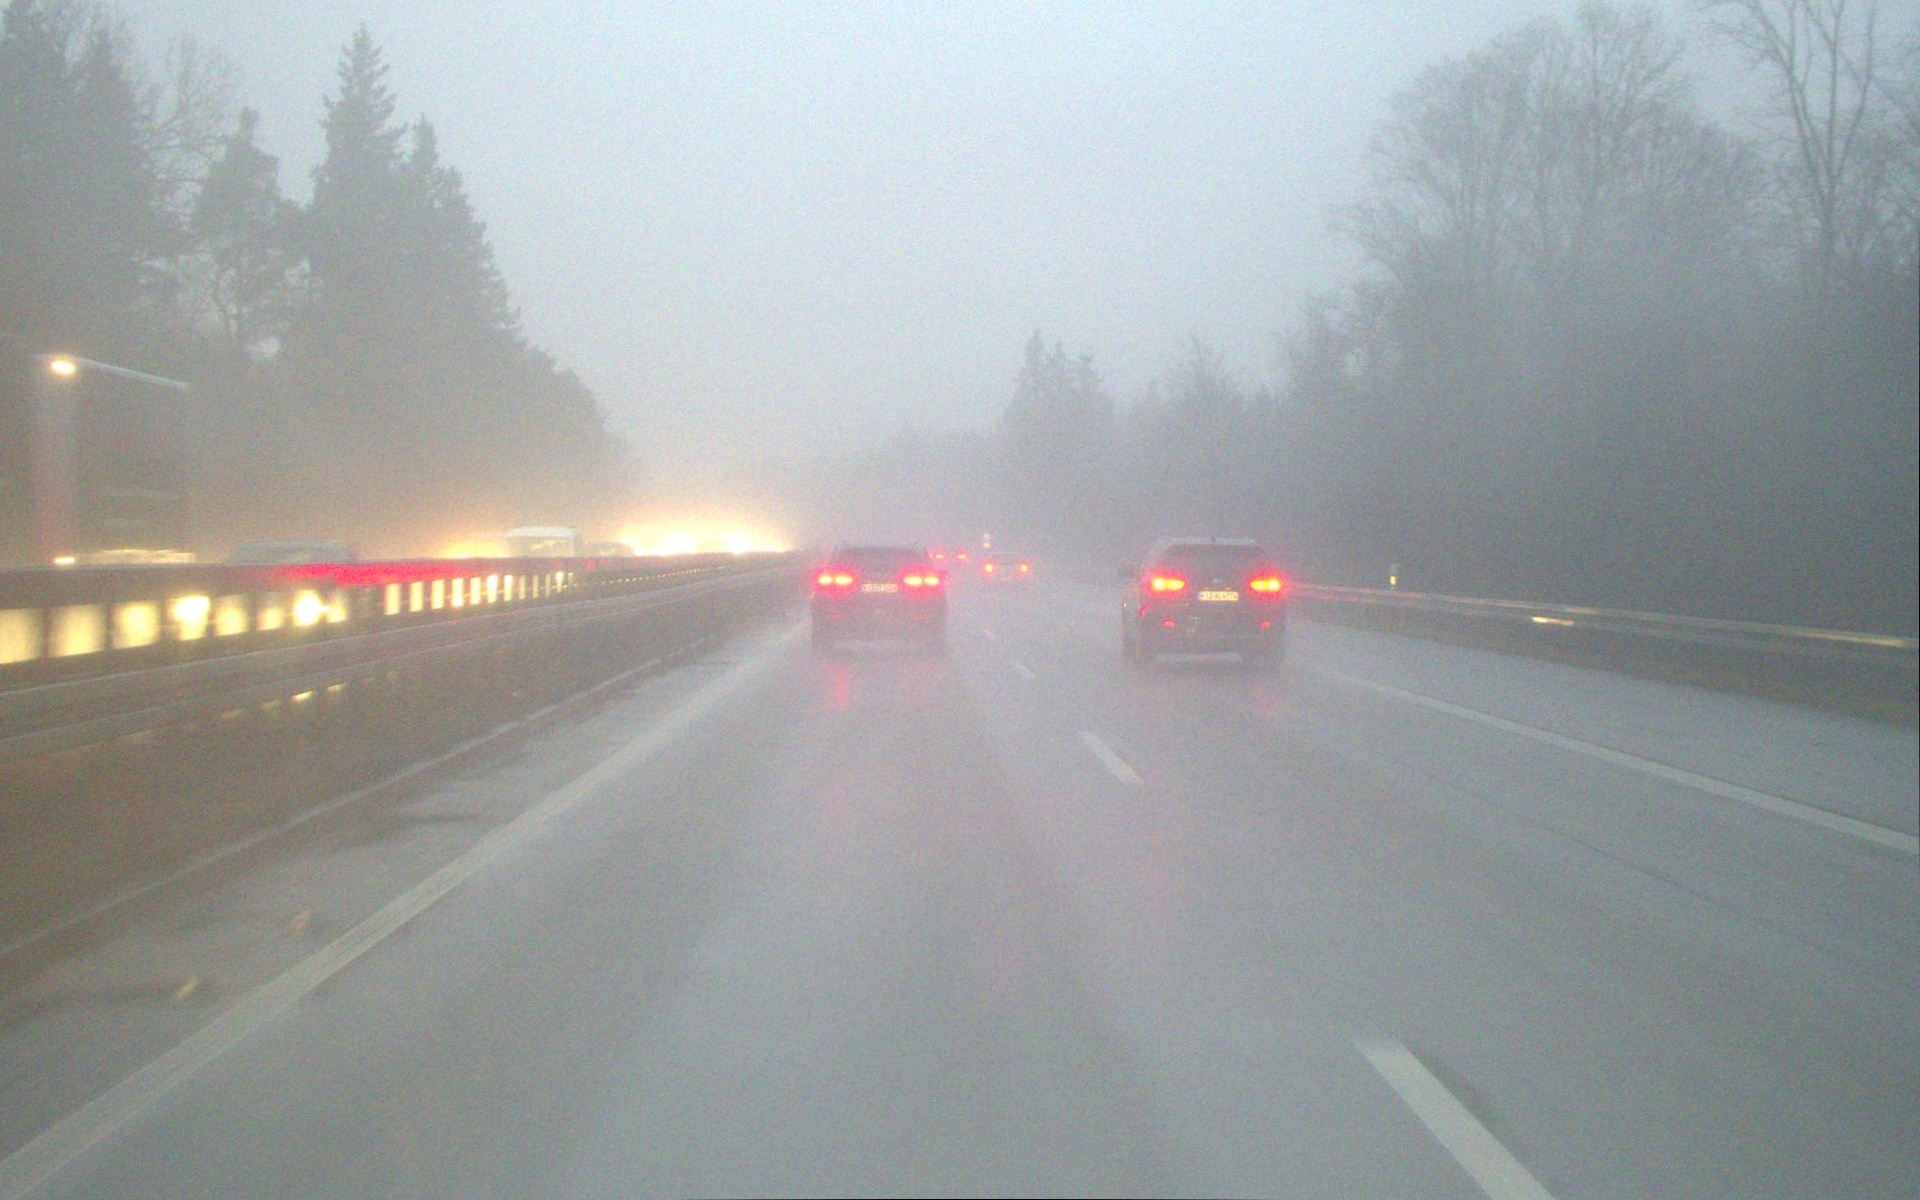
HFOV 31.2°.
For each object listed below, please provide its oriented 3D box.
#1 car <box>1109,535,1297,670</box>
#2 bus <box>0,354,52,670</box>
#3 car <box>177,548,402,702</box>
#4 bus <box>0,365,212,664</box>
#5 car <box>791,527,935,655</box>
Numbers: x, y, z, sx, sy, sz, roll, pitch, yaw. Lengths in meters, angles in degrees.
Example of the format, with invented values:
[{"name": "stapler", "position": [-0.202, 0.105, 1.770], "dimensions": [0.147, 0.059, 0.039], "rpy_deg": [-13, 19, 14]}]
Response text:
[{"name": "car", "position": [3.195, 0.003, 45.999], "dimensions": [2.070, 1.692, 4.461], "rpy_deg": [1, 1, -1]}, {"name": "bus", "position": [-12.105, -0.970, 36.281], "dimensions": [2.726, 3.543, 9.089], "rpy_deg": [1, 1, -1]}, {"name": "car", "position": [-8.371, 0.276, 43.248], "dimensions": [1.993, 1.744, 4.000], "rpy_deg": [3, 1, 0]}, {"name": "bus", "position": [-12.227, -1.091, 45.476], "dimensions": [2.738, 3.543, 9.156], "rpy_deg": [1, 1, -1]}, {"name": "car", "position": [-1.394, -0.151, 49.408], "dimensions": [1.986, 1.761, 4.174], "rpy_deg": [0, 1, -2]}]
